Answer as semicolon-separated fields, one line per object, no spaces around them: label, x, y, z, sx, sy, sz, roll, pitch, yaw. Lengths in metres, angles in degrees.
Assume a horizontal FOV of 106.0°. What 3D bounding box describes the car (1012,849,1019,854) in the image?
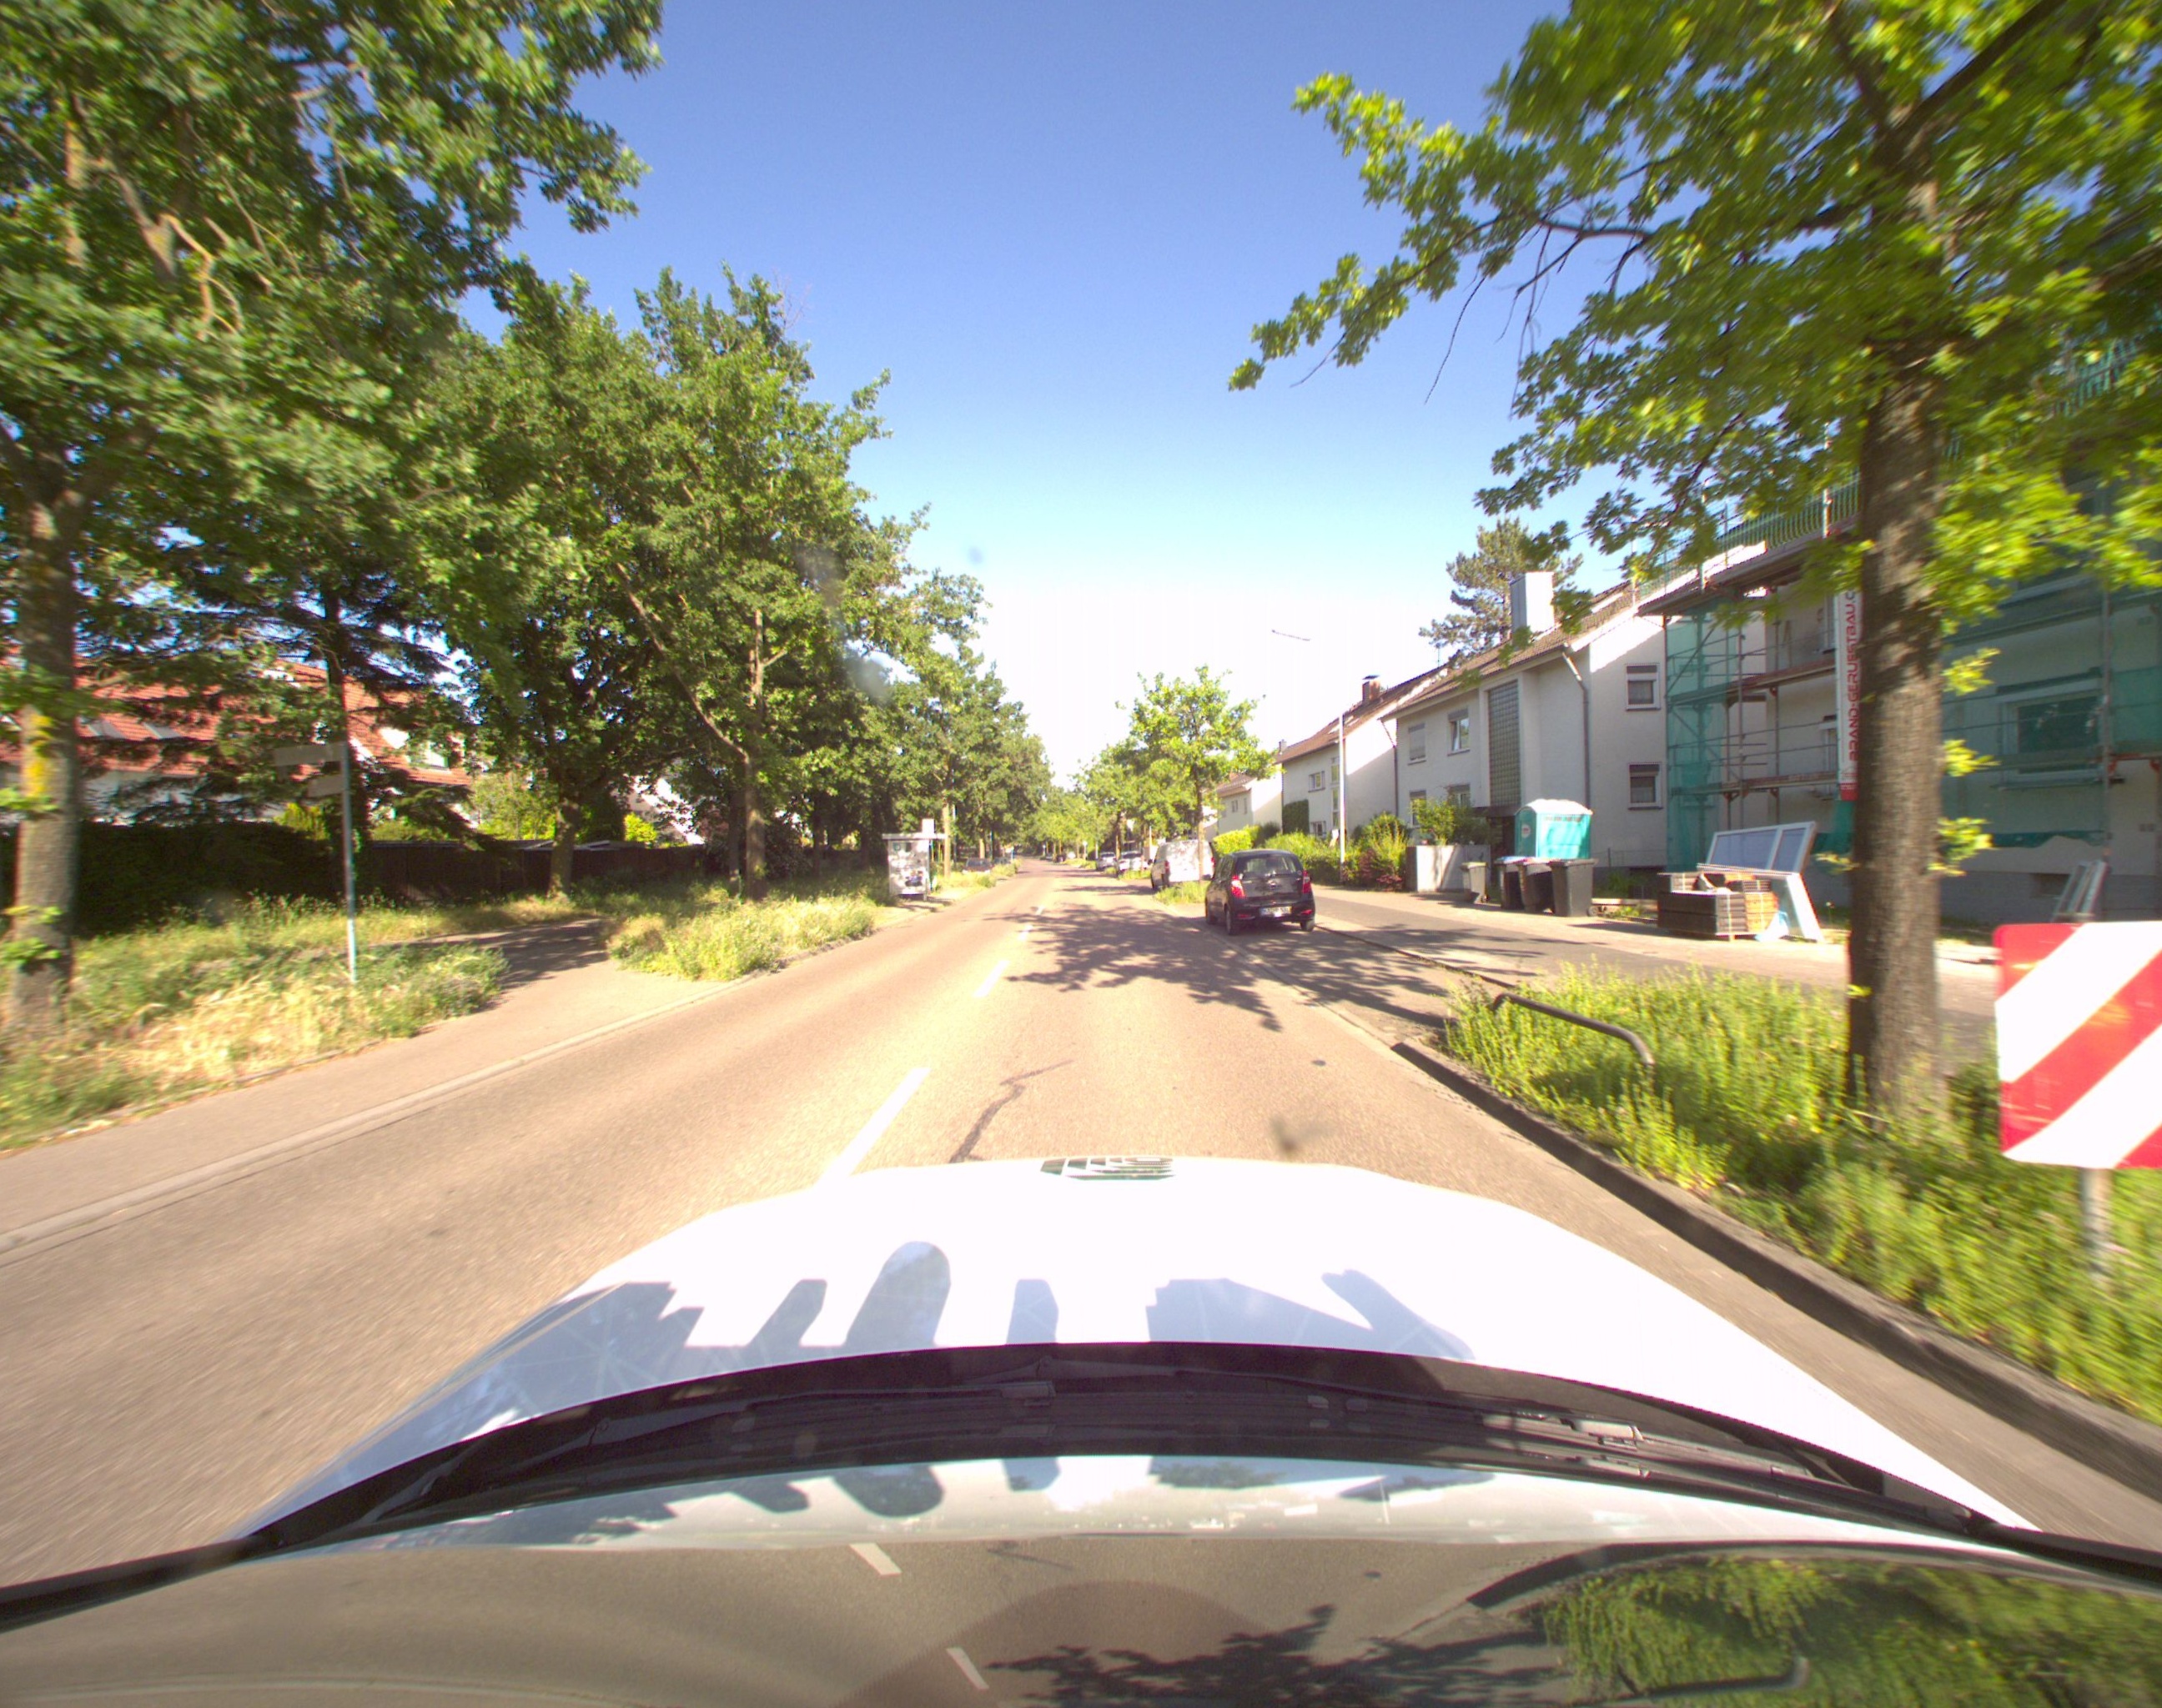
car;-18.711;-0.781;232.512;1.929;1.454;3.995;-1;0;-3

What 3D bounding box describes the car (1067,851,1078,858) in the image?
car;-1.780;0.036;169.258;1.929;1.454;3.995;-1;0;-3

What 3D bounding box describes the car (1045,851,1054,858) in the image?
car;-6.686;0.190;171.516;1.929;1.454;3.995;-1;0;-3

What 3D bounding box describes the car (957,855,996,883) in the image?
car;-5.916;0.821;46.605;1.932;1.479;3.995;-1;0;-4

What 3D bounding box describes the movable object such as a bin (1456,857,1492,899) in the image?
movable object such as a bin;9.024;0.535;18.708;0.528;0.932;0.549;-1;0;-1

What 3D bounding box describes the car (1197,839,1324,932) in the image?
car;3.460;0.551;16.365;1.667;1.578;3.751;-3;0;0

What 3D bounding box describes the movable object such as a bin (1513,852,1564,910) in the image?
movable object such as a bin;8.845;0.512;15.747;0.602;1.069;0.646;-1;0;-1

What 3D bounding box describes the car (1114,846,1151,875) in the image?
car;3.211;0.399;51.699;1.931;1.704;3.997;-1;0;-2

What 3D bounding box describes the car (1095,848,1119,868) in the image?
car;2.367;0.325;74.243;1.928;1.742;3.997;-1;0;-2

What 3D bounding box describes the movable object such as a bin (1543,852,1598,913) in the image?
movable object such as a bin;8.950;0.511;14.899;0.602;1.069;0.646;-1;0;-1

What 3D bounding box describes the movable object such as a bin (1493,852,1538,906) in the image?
movable object such as a bin;8.913;0.498;16.720;0.602;1.069;0.567;-1;0;-1

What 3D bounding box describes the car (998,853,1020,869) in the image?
car;-6.881;0.632;77.969;1.791;1.479;3.518;-1;0;-1

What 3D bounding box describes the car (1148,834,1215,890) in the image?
car;3.794;0.286;31.528;1.831;1.971;4.755;-1;0;-2

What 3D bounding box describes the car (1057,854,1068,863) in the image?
car;-3.258;0.709;143.122;1.928;1.542;3.997;-1;0;-2

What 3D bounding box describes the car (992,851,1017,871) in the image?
car;-6.166;0.580;65.984;1.990;1.556;3.994;0;0;-4
